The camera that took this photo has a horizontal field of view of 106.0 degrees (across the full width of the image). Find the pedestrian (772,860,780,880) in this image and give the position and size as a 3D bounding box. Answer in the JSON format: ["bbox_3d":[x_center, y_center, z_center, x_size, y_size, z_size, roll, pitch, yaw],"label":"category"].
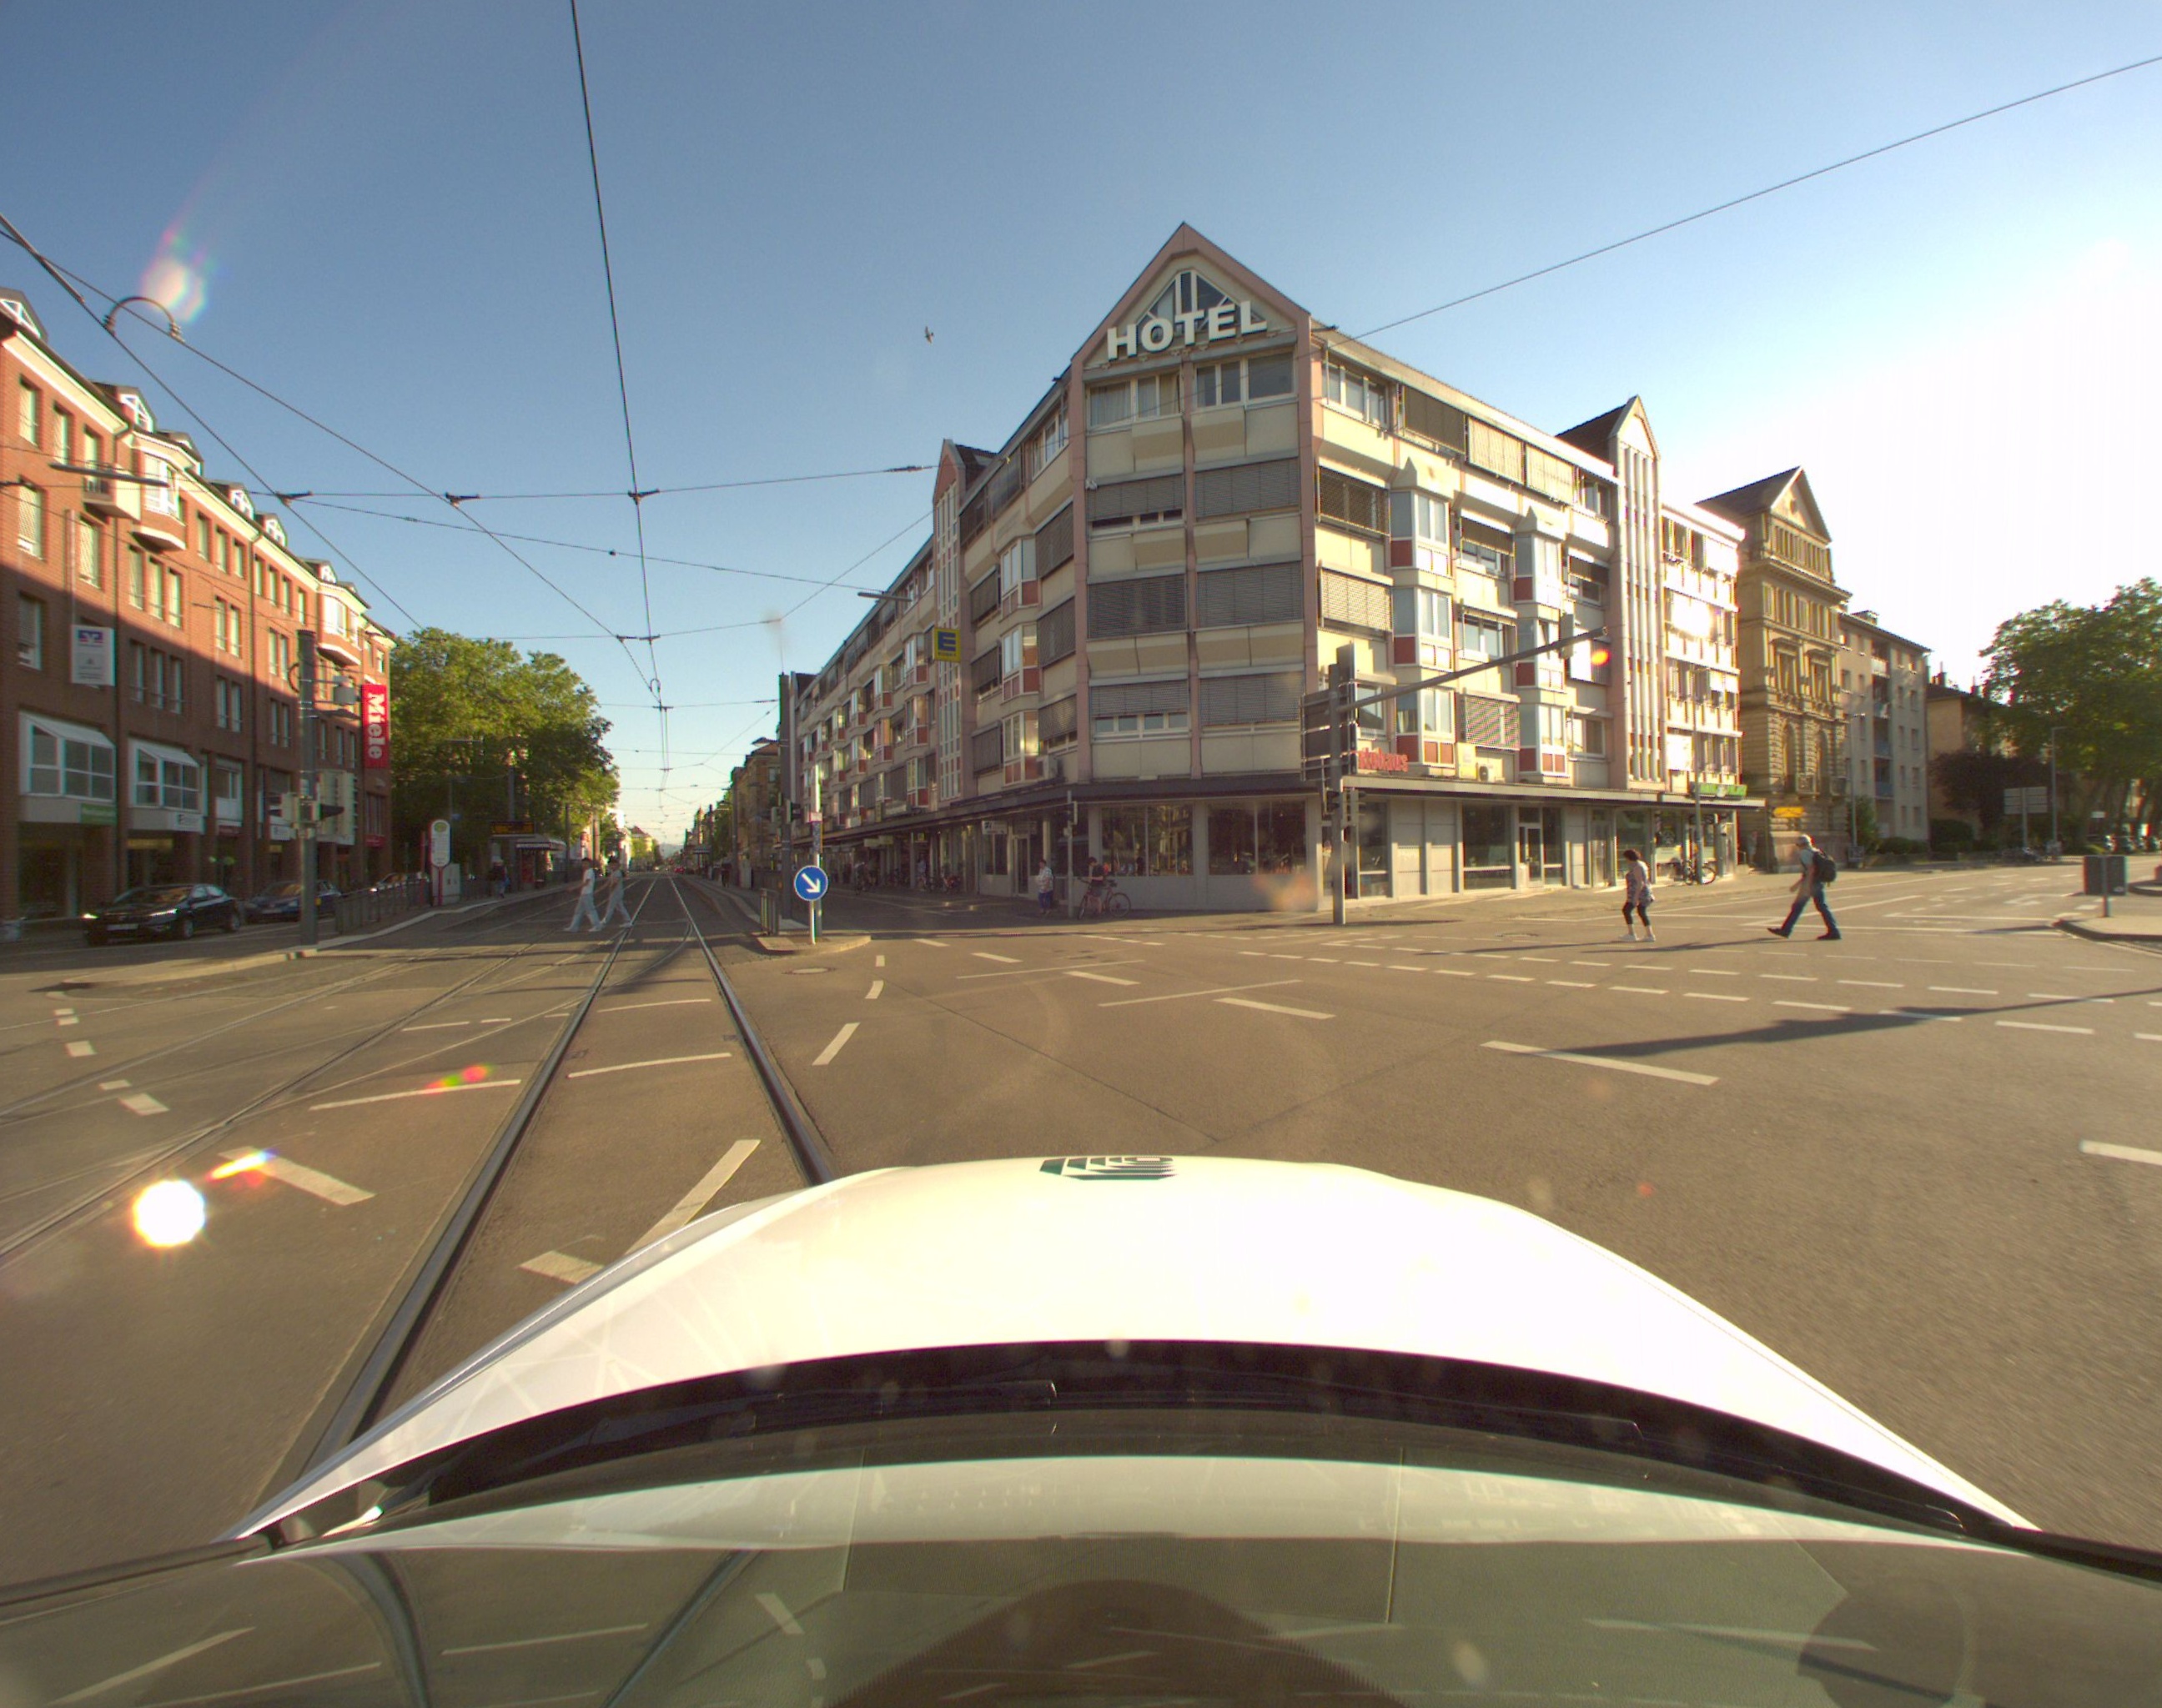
[{"bbox_3d":[-30.878,1.640,82.464,0.776,2.013,0.500,-1,1,-24],"label":"pedestrian"}]

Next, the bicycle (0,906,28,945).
[{"bbox_3d":[-28.751,1.888,21.018,1.842,0.961,0.539,-1,1,-30],"label":"bicycle"}]

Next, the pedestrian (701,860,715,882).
[{"bbox_3d":[-28.744,1.299,62.752,0.785,1.659,0.676,-1,1,-38],"label":"pedestrian"}]

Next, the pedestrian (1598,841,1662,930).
[{"bbox_3d":[9.364,0.541,13.928,0.845,1.465,0.690,0,-4,29],"label":"pedestrian"}]

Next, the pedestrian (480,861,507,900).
[{"bbox_3d":[-23.951,1.070,33.202,0.613,1.577,0.695,0,1,37],"label":"pedestrian"}]

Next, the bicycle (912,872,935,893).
[{"bbox_3d":[-7.322,1.296,37.894,0.502,0.917,2.060,-1,0,-27],"label":"bicycle"}]

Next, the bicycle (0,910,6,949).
[{"bbox_3d":[-28.244,1.945,20.191,1.842,0.961,0.539,-1,1,-30],"label":"bicycle"}]

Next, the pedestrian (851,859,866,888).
[{"bbox_3d":[-12.797,1.123,46.764,0.754,1.644,0.546,-1,1,-23],"label":"pedestrian"}]

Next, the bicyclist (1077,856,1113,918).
[{"bbox_3d":[0.379,0.865,21.799,0.660,1.596,0.635,-4,2,-29],"label":"bicyclist"}]

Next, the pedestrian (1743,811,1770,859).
[{"bbox_3d":[33.946,-0.960,40.913,0.966,2.398,0.918,-1,1,-43],"label":"pedestrian"}]

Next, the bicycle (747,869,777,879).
[{"bbox_3d":[-35.735,2.223,91.297,0.889,0.992,3.193,0,1,35],"label":"bicycle"}]

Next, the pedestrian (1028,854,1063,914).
[{"bbox_3d":[-1.016,0.850,23.233,0.707,1.662,0.637,-2,-1,34],"label":"pedestrian"}]

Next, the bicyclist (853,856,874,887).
[{"bbox_3d":[-11.282,0.889,42.268,0.621,1.532,0.807,-3,1,25],"label":"bicyclist"}]

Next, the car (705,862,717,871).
[{"bbox_3d":[-70.432,2.401,154.854,2.004,1.552,3.967,-1,1,-26],"label":"car"}]

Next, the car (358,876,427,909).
[{"bbox_3d":[-34.904,1.908,41.414,1.754,1.424,3.904,-1,1,-26],"label":"car"}]

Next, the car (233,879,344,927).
[{"bbox_3d":[-28.640,1.708,29.578,1.754,1.424,3.904,-1,1,-26],"label":"car"}]

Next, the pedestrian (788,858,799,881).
[{"bbox_3d":[-25.220,1.351,71.496,0.842,2.013,0.771,-1,1,-23],"label":"pedestrian"}]

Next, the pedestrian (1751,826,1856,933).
[{"bbox_3d":[12.239,0.398,13.812,0.860,1.731,1.185,-1,1,-37],"label":"pedestrian"}]

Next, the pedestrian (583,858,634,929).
[{"bbox_3d":[-11.723,0.956,20.222,0.616,1.694,0.873,0,1,26],"label":"pedestrian"}]

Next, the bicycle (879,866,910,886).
[{"bbox_3d":[-10.660,1.245,46.634,1.655,1.119,0.560,-1,1,-33],"label":"bicycle"}]

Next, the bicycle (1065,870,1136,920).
[{"bbox_3d":[0.533,1.082,21.890,1.775,1.145,0.635,-4,2,-29],"label":"bicycle"}]

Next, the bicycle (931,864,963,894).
[{"bbox_3d":[-5.826,1.047,35.288,0.731,1.227,2.312,-1,0,-27],"label":"bicycle"}]

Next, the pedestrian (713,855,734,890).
[{"bbox_3d":[-17.401,0.883,39.661,0.785,1.659,0.676,-1,1,-38],"label":"pedestrian"}]

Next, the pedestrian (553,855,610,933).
[{"bbox_3d":[-11.765,0.905,19.190,0.504,1.764,1.012,0,1,38],"label":"pedestrian"}]

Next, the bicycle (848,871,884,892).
[{"bbox_3d":[-11.178,1.438,42.404,0.621,0.930,1.922,-3,2,26],"label":"bicycle"}]

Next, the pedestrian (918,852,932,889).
[{"bbox_3d":[-8.047,0.853,41.992,0.611,1.852,0.599,-1,1,-23],"label":"pedestrian"}]

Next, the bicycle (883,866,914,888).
[{"bbox_3d":[-10.146,1.268,45.310,1.655,1.119,0.479,-1,1,-33],"label":"bicycle"}]

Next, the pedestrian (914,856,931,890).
[{"bbox_3d":[-7.711,0.930,39.743,0.604,1.635,0.606,0,1,13],"label":"pedestrian"}]

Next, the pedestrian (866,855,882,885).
[{"bbox_3d":[-12.522,0.953,49.301,0.816,1.778,0.679,0,1,-3],"label":"pedestrian"}]

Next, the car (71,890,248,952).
[{"bbox_3d":[-24.829,1.745,22.155,1.753,1.244,3.905,-1,1,-25],"label":"car"}]

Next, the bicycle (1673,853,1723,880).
[{"bbox_3d":[24.781,0.491,32.694,2.089,1.070,0.450,-1,1,-16],"label":"bicycle"}]
